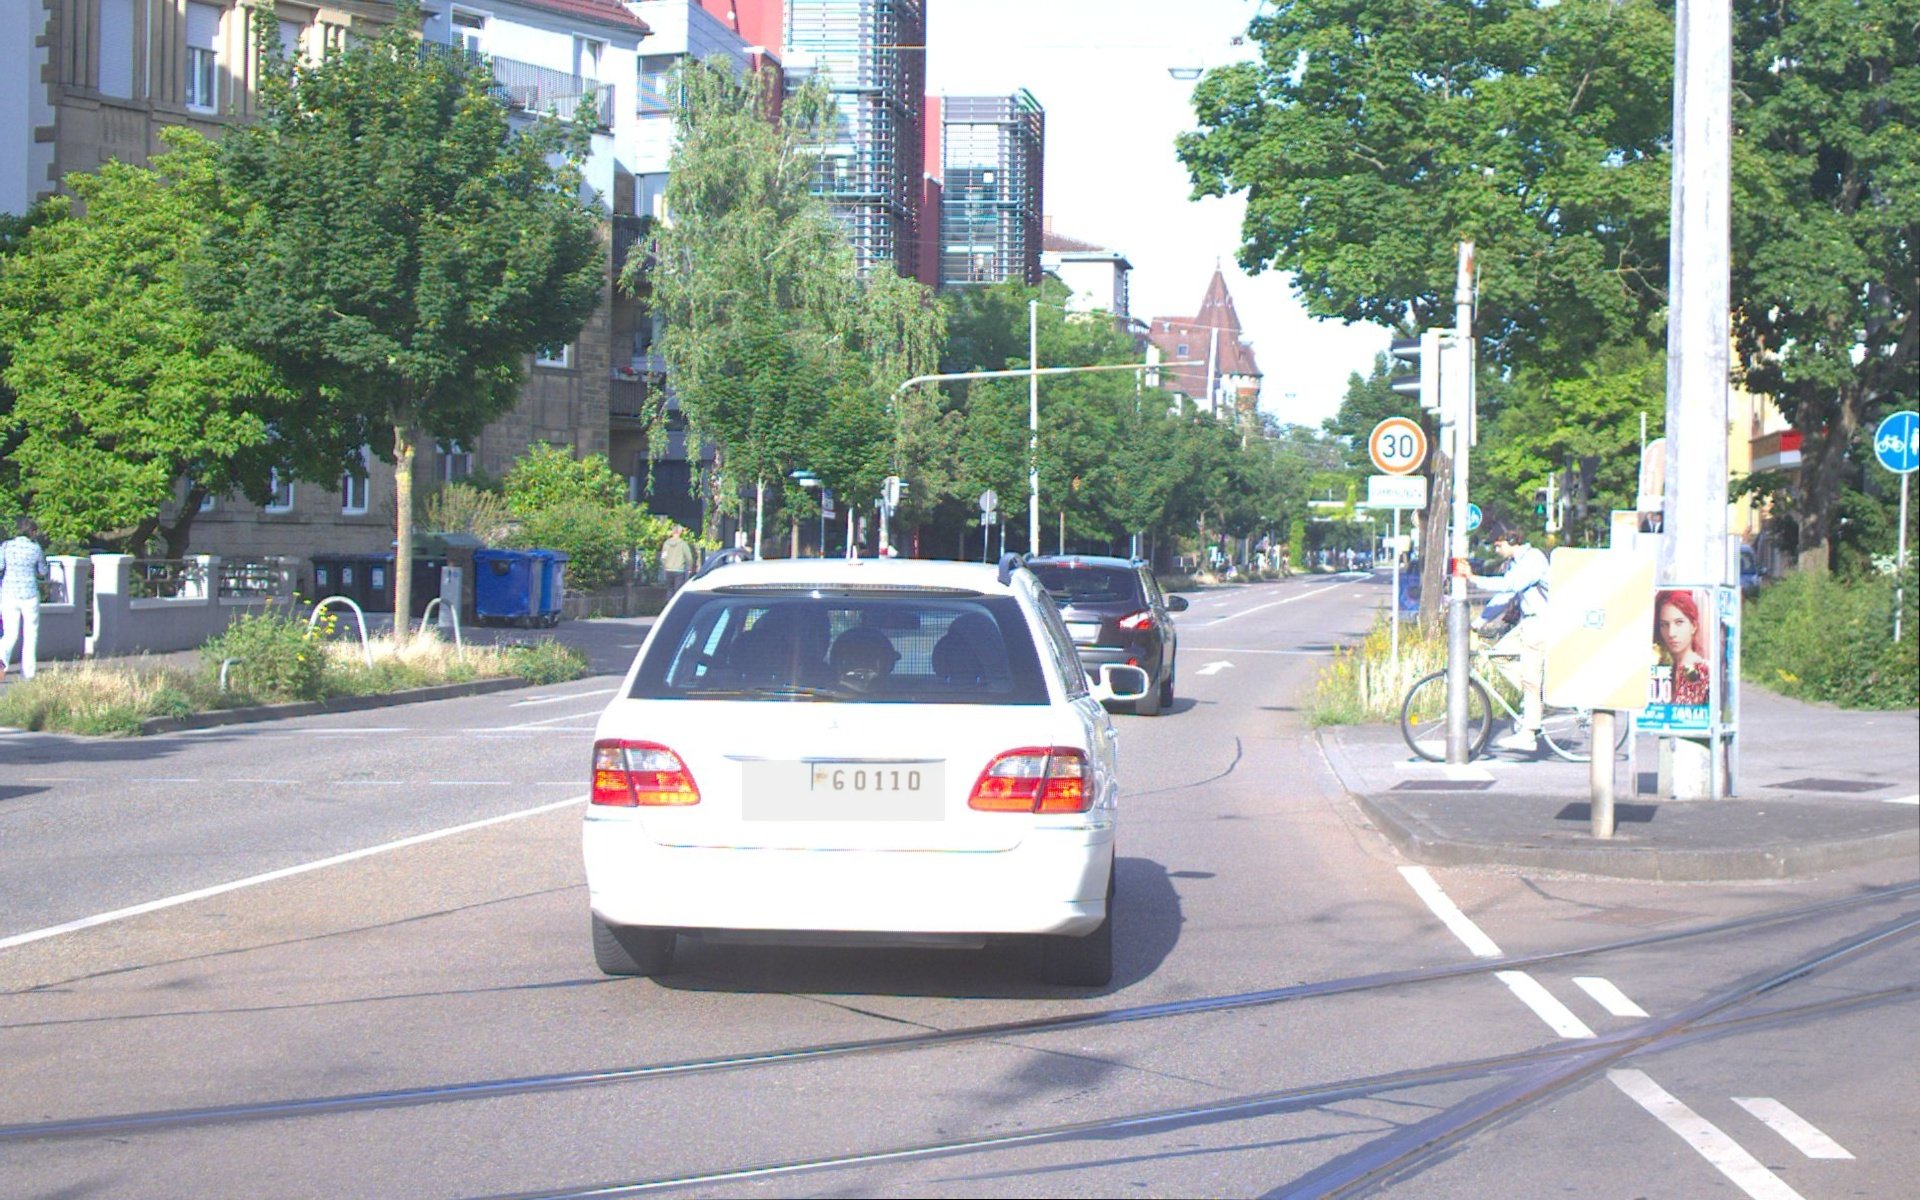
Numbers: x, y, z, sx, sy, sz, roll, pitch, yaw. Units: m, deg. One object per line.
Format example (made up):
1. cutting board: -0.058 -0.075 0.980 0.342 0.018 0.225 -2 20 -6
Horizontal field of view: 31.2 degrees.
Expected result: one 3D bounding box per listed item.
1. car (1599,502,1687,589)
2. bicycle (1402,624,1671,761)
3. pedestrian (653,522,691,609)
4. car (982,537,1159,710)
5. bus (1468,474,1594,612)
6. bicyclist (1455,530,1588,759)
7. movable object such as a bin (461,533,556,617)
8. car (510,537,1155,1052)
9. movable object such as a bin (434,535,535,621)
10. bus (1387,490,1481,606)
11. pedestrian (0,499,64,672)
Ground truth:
1. car: 15.362 -1.209 77.470 1.746 1.867 3.998 2 1 9
2. bicycle: 4.313 0.690 25.821 1.914 0.991 0.727 0 1 3
3. pedestrian: -5.828 -0.708 69.635 0.638 1.745 0.607 1 1 6
4. car: 1.154 0.200 35.381 1.641 1.594 3.815 3 1 2
5. bus: 10.785 -1.048 65.108 1.798 2.404 3.999 4 0 4
6. bicyclist: 4.207 0.322 25.822 0.899 1.693 0.732 0 1 3
7. movable object such as a bin: -7.789 -0.438 59.354 1.533 1.416 1.085 1 1 -4
8. car: -0.298 0.583 12.629 1.835 1.496 3.814 3 1 5
9. movable object such as a bin: -8.032 -0.381 58.125 1.602 1.416 1.085 1 1 -4
10. bus: 11.137 -1.191 80.995 1.798 2.546 3.999 4 0 4
11. pedestrian: -9.695 -0.161 35.315 0.638 1.745 0.911 1 1 6
